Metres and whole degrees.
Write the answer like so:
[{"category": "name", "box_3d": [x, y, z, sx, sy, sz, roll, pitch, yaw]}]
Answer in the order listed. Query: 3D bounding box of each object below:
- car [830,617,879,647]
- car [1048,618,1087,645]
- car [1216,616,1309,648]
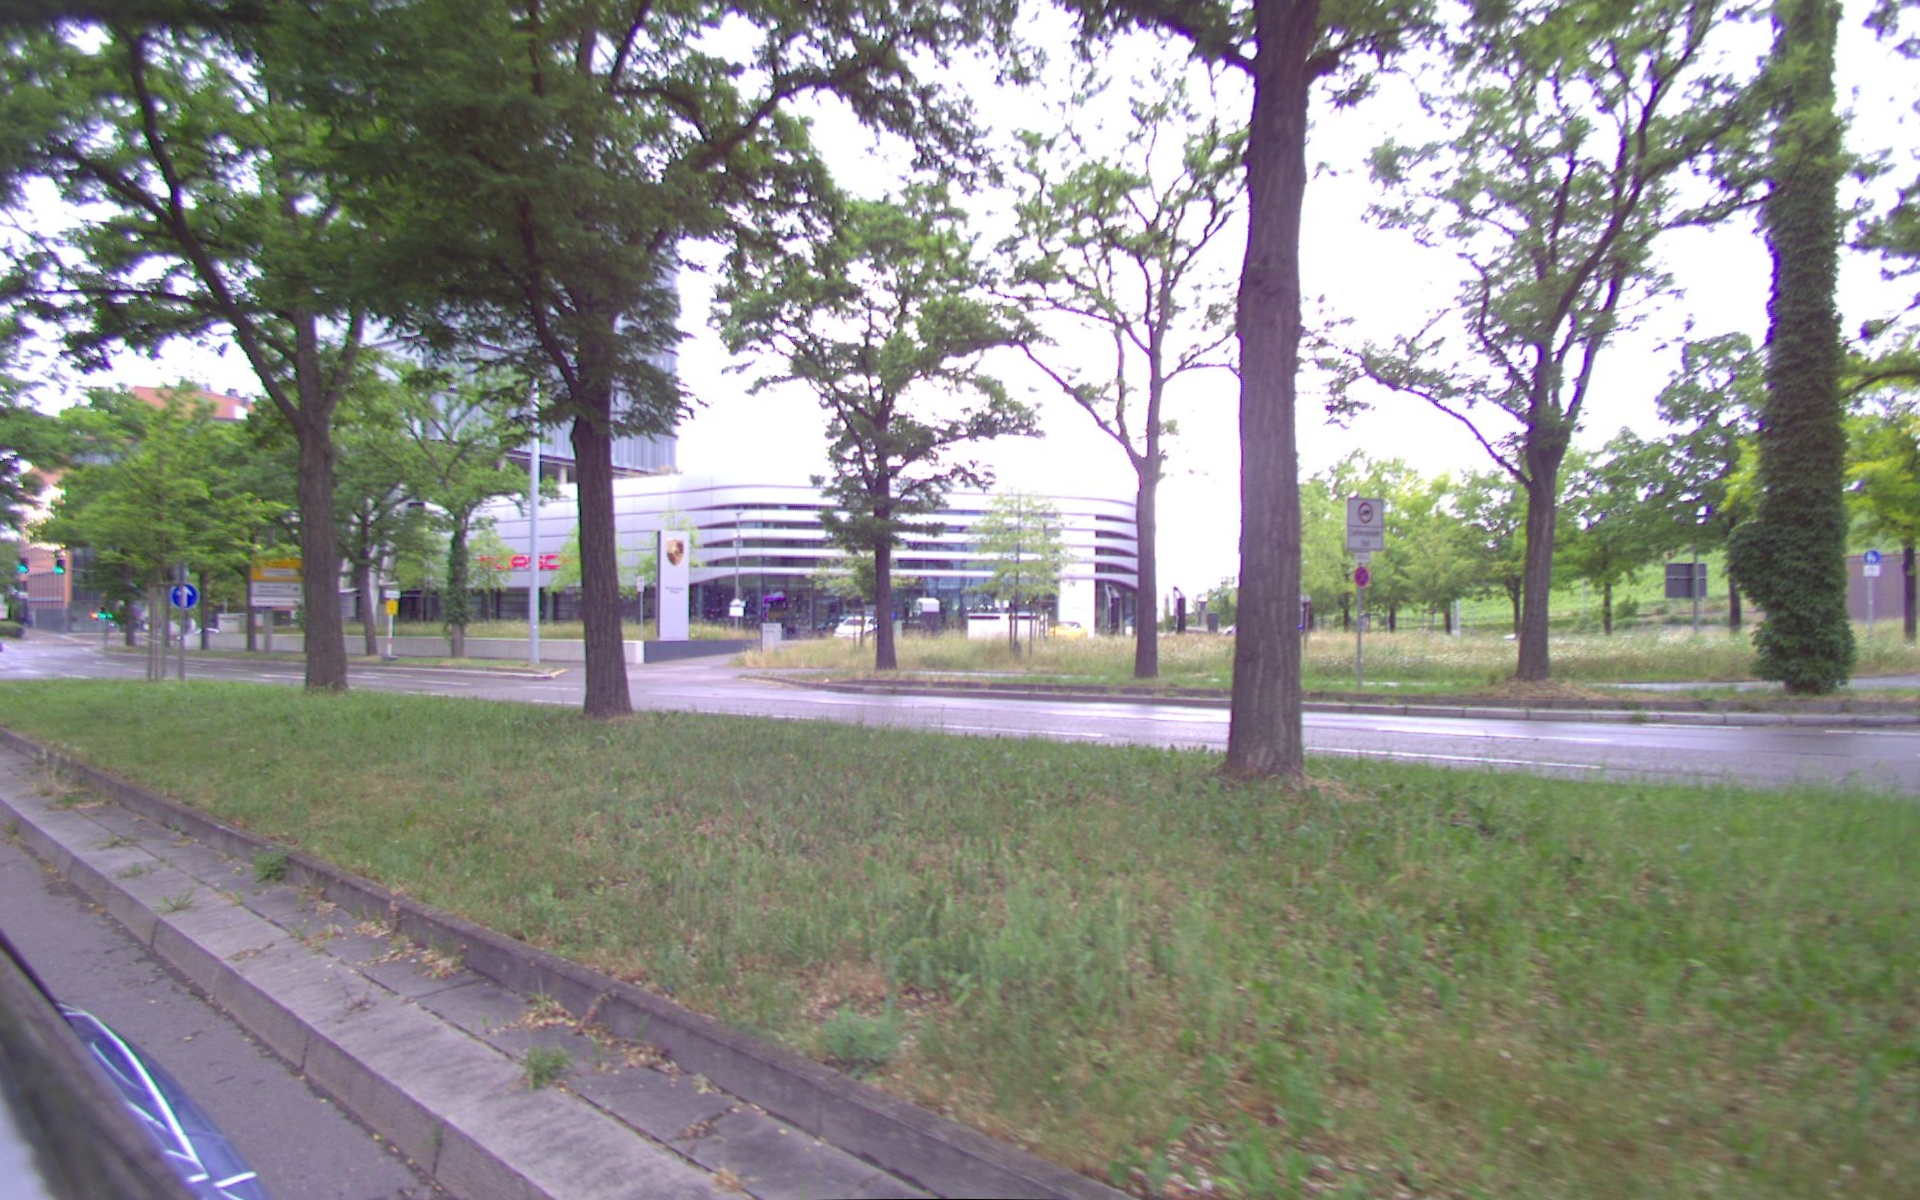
[{"category": "car", "box_3d": [-5.699, 1.725, 55.142, 1.757, 1.423, 3.991, -1, 1, 7]}, {"category": "car", "box_3d": [6.182, 1.776, 57.735, 1.605, 1.333, 3.981, -1, 1, 15]}, {"category": "car", "box_3d": [13.523, 1.409, 45.456, 1.592, 1.254, 4.012, -2, 1, -30]}]
